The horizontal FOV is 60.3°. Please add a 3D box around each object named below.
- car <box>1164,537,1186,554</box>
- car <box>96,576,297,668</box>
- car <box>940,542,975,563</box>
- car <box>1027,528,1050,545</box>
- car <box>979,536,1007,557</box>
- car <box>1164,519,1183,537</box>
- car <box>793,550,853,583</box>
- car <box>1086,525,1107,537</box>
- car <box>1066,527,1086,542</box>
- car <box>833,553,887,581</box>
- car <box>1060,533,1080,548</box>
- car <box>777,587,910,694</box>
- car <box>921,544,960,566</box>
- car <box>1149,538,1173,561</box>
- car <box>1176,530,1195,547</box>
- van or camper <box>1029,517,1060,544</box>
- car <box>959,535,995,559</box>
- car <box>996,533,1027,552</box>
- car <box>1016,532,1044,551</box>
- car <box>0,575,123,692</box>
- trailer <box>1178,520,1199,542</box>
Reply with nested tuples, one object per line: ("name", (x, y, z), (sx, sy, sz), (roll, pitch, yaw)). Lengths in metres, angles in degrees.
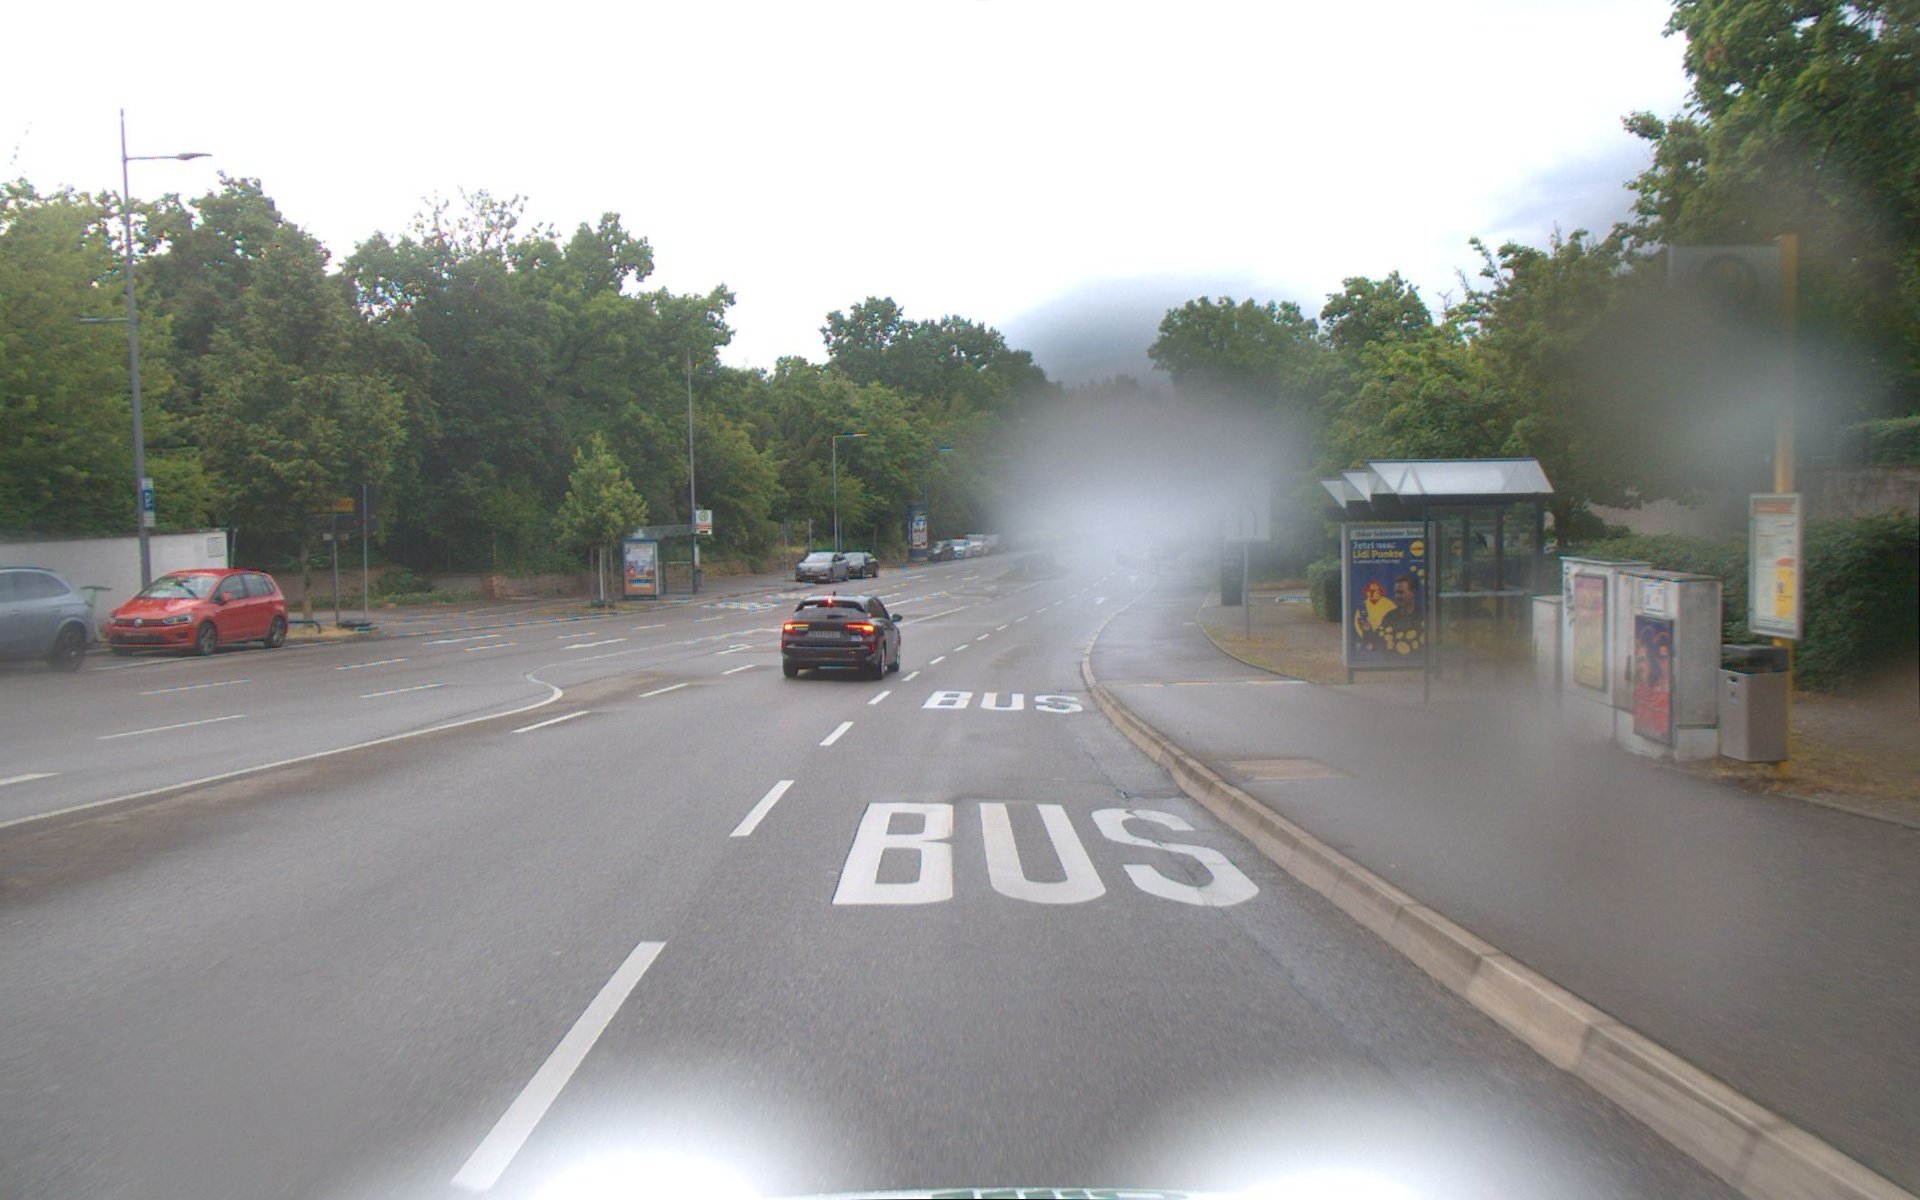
("car", (20.071, -5.086, 154.242), (1.623, 1.490, 3.905), (3, 4, 12))
("car", (-14.552, 0.369, 31.804), (1.630, 1.614, 4.220), (-1, 1, 4))
("car", (-0.182, -3.648, 126.063), (1.682, 1.485, 4.714), (0, 3, 13))
("car", (7.655, -6.201, 161.409), (1.583, 1.473, 3.661), (-1, 3, 13))
("car", (2.833, -4.529, 140.436), (1.694, 1.677, 4.577), (1, 3, 9))
("car", (18.987, -6.416, 147.101), (1.526, 1.485, 3.680), (1, 3, 10))
("car", (-7.184, -1.787, 86.959), (1.801, 1.616, 4.934), (1, 3, 12))
("car", (15.945, -8.049, 192.623), (1.830, 1.326, 4.476), (0, 4, 12))
("car", (12.958, -7.268, 184.164), (1.568, 1.536, 3.981), (0, 4, 14))
("car", (-5.630, -1.897, 93.462), (1.865, 1.438, 4.788), (1, 3, 12))
("car", (11.901, -6.483, 178.947), (1.568, 1.536, 3.142), (0, 4, 14))
("car", (-1.995, 0.661, 29.440), (1.841, 1.491, 4.004), (2, 4, 3))
("car", (-1.410, -3.332, 121.034), (1.712, 1.470, 4.592), (1, 3, 15))
("car", (15.439, -3.916, 126.932), (1.783, 1.642, 4.257), (1, 3, 8))
("car", (23.060, -6.289, 169.027), (1.783, 1.511, 4.204), (-1, 0, 10))
("van or camper", (8.614, -7.069, 167.565), (2.098, 2.672, 5.689), (0, 3, 14))
("car", (1.380, -4.260, 132.881), (1.951, 1.795, 4.966), (0, 3, 12))
("car", (4.684, -5.220, 150.099), (1.878, 1.644, 4.495), (0, 3, 13))
("car", (6.631, -5.547, 156.874), (1.951, 1.729, 4.621), (0, 3, 11))
("car", (-14.885, 0.488, 24.951), (1.727, 1.682, 4.887), (1, 1, 4))
("trailer", (24.165, -7.326, 174.926), (1.865, 2.286, 4.774), (1, 4, 12))
